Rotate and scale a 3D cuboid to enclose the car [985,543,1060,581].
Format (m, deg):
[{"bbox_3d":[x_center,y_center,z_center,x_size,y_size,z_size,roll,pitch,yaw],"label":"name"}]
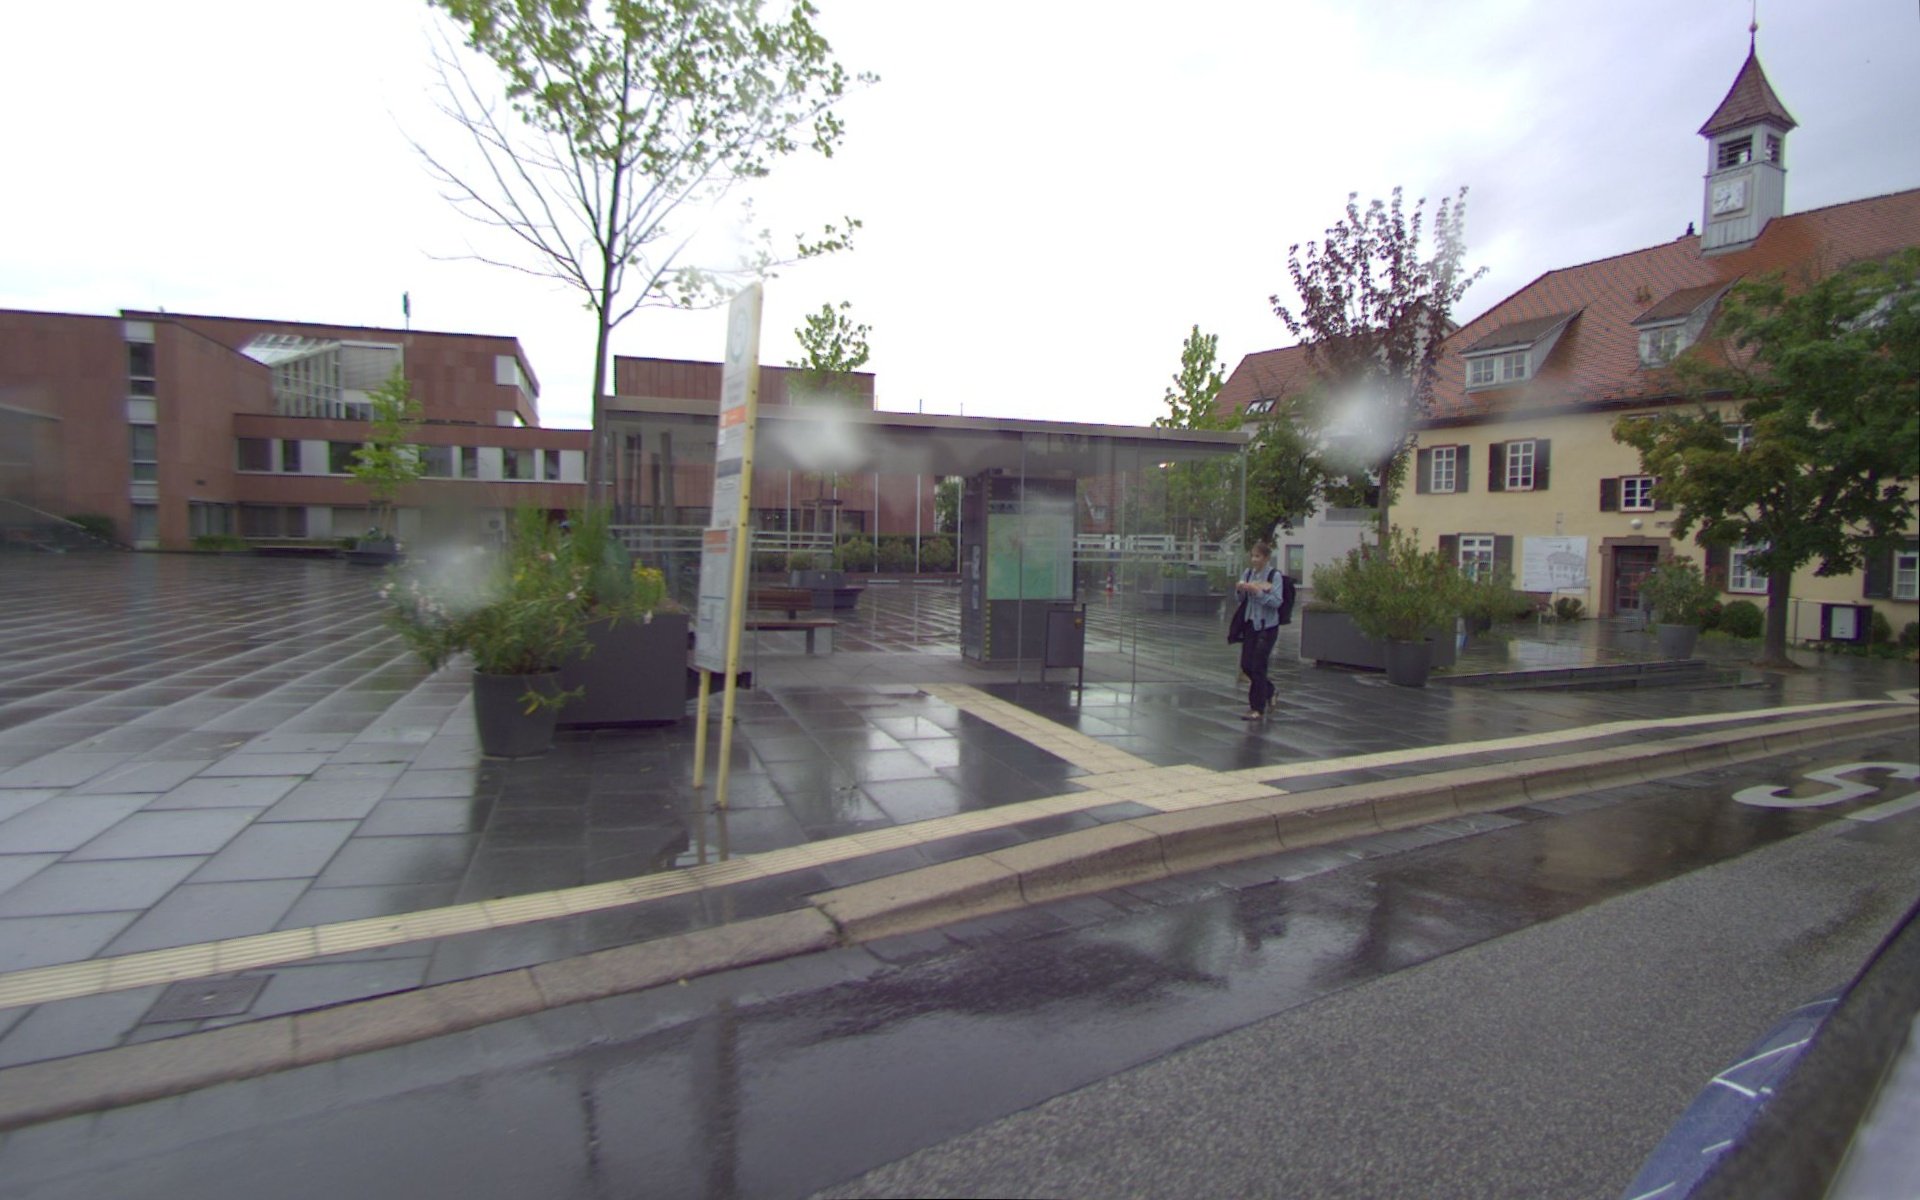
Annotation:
[{"bbox_3d":[3.995,-2.455,65.121,4.284,2.244,2.006,1,3,-21],"label":"car"}]

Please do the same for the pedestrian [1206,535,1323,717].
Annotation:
[{"bbox_3d":[2.883,0.215,9.628,0.680,1.636,0.731,0,3,-29],"label":"pedestrian"}]

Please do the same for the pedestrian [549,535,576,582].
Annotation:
[{"bbox_3d":[-17.453,-1.837,44.444,0.722,2.038,0.859,3,3,15],"label":"pedestrian"}]

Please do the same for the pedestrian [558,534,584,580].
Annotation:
[{"bbox_3d":[-17.469,-1.928,45.487,0.722,2.038,0.859,3,3,15],"label":"pedestrian"}]
